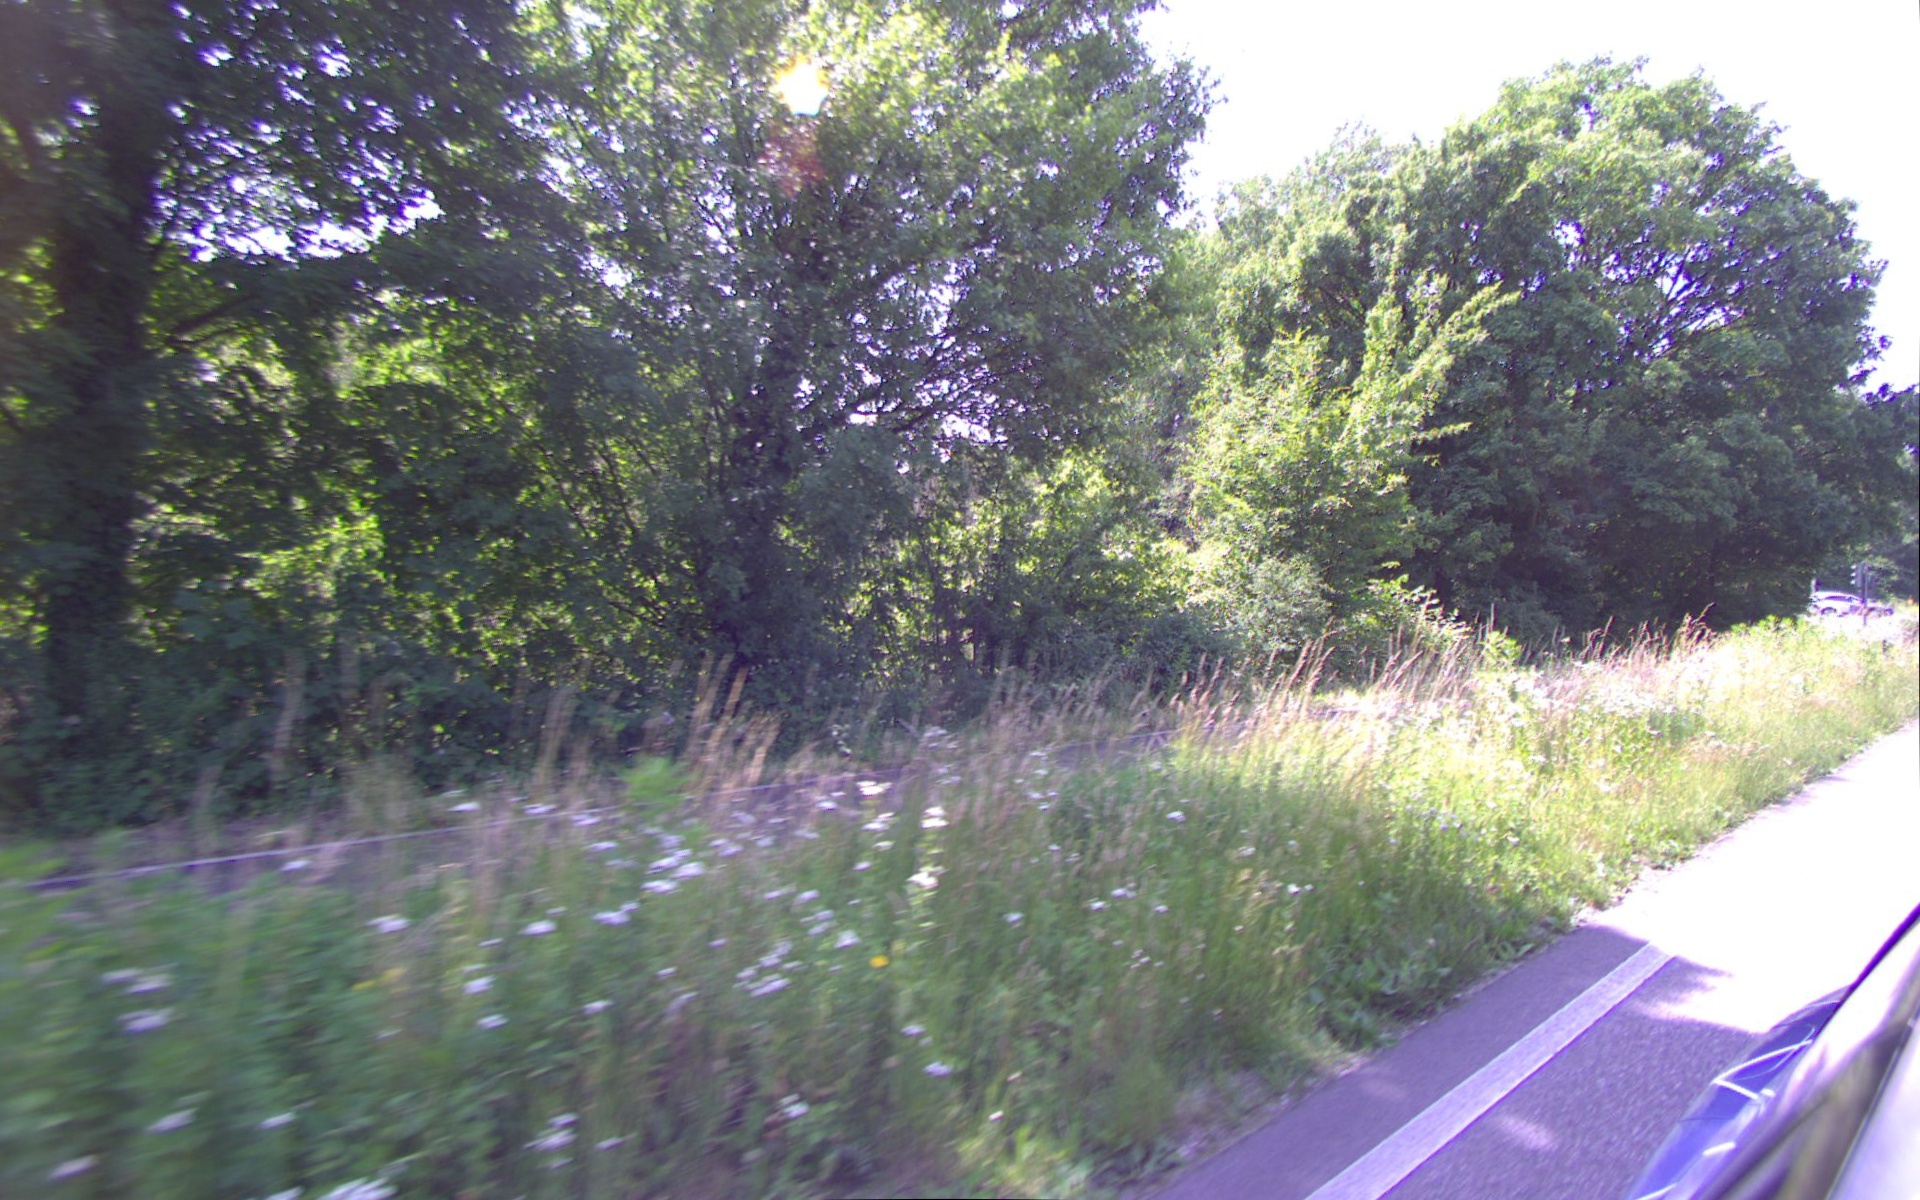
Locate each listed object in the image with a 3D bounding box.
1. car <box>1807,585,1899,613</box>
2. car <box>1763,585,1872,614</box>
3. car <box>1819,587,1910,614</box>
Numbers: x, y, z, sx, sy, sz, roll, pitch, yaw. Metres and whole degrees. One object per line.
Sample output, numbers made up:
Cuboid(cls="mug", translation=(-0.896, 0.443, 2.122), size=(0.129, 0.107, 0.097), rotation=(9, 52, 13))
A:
Cuboid(cls="car", translation=(60.077, -0.092, 68.136), size=(1.965, 1.554, 4.429), rotation=(0, 3, -41))
Cuboid(cls="car", translation=(54.088, -0.065, 63.919), size=(1.984, 1.516, 4.945), rotation=(-1, 3, -39))
Cuboid(cls="car", translation=(57.905, 0.011, 64.808), size=(1.961, 1.464, 4.100), rotation=(0, 3, -41))
